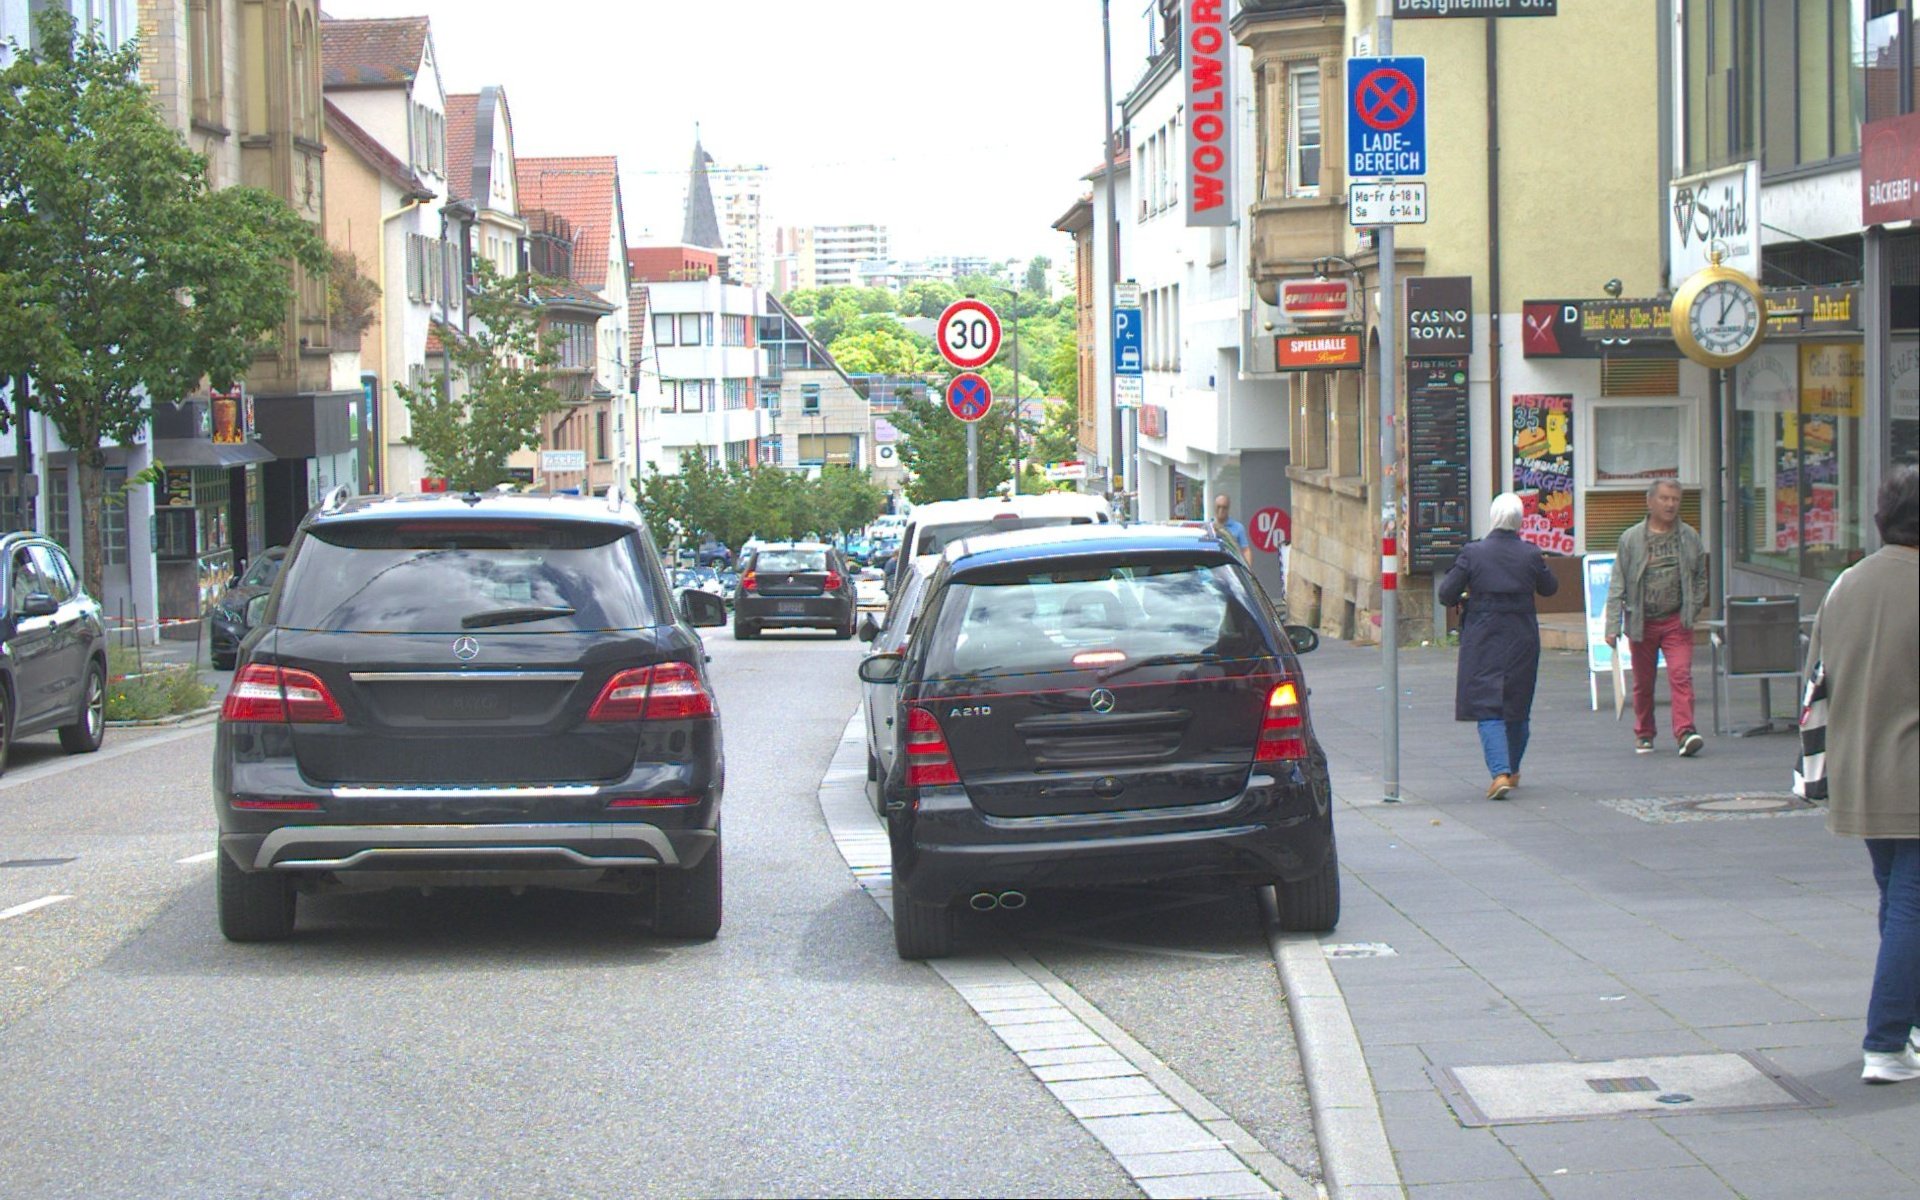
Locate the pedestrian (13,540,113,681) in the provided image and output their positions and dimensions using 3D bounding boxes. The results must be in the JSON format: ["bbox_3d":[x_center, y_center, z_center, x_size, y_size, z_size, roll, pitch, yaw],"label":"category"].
[{"bbox_3d":[-9.475,0.108,36.341,0.826,1.458,0.810,1,0,-1],"label":"pedestrian"}]

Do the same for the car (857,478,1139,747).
[{"bbox_3d":[0.377,0.044,25.585,1.877,1.793,4.732,-1,1,3],"label":"car"}]

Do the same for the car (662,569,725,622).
[{"bbox_3d":[-8.561,-0.169,110.604,1.926,1.590,4.459,1,1,-4],"label":"car"}]

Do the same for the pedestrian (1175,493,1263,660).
[{"bbox_3d":[2.732,-0.254,36.374,0.796,1.721,1.053,-2,1,0],"label":"pedestrian"}]

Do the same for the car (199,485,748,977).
[{"bbox_3d":[-2.092,0.426,14.332,1.943,1.734,4.180,0,1,-10],"label":"car"}]

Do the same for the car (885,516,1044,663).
[{"bbox_3d":[0.059,-0.147,41.219,1.748,1.602,3.800,-3,1,0],"label":"car"}]

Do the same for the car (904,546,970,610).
[{"bbox_3d":[-0.762,-0.716,109.370,1.938,1.885,4.707,-3,1,-1],"label":"car"}]

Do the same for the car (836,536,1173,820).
[{"bbox_3d":[0.167,0.382,20.381,1.702,1.462,4.001,-2,1,-3],"label":"car"}]

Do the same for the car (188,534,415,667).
[{"bbox_3d":[-7.927,-0.032,41.785,1.926,1.487,4.843,1,1,-2],"label":"car"}]

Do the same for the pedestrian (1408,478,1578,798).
[{"bbox_3d":[2.838,0.194,18.368,0.824,1.660,0.802,-1,1,6],"label":"pedestrian"}]

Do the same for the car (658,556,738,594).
[{"bbox_3d":[-13.581,-1.299,178.341,3.986,1.744,2.000,-3,0,-4],"label":"car"}]

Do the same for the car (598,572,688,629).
[{"bbox_3d":[-8.242,-0.007,89.673,1.926,1.425,4.262,0,0,0],"label":"car"}]

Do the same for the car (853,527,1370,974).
[{"bbox_3d":[0.544,0.502,14.250,1.803,1.550,3.954,-2,1,0],"label":"car"}]

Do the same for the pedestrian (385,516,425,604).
[{"bbox_3d":[-9.297,-0.672,57.568,0.491,1.458,0.559,1,0,9],"label":"pedestrian"}]

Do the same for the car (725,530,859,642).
[{"bbox_3d":[-2.470,-0.242,51.225,1.785,1.535,3.745,-2,1,0],"label":"car"}]

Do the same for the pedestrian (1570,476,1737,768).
[{"bbox_3d":[4.162,0.123,20.694,0.864,1.701,0.944,-1,1,6],"label":"pedestrian"}]

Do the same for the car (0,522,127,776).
[{"bbox_3d":[-7.504,0.295,24.646,2.006,1.688,4.608,0,2,-1],"label":"car"}]

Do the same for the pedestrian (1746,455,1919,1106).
[{"bbox_3d":[2.543,0.446,9.089,0.772,1.639,0.870,-1,1,6],"label":"pedestrian"}]

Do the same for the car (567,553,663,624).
[{"bbox_3d":[-8.182,-0.267,81.901,1.926,1.616,4.640,0,0,-2],"label":"car"}]
